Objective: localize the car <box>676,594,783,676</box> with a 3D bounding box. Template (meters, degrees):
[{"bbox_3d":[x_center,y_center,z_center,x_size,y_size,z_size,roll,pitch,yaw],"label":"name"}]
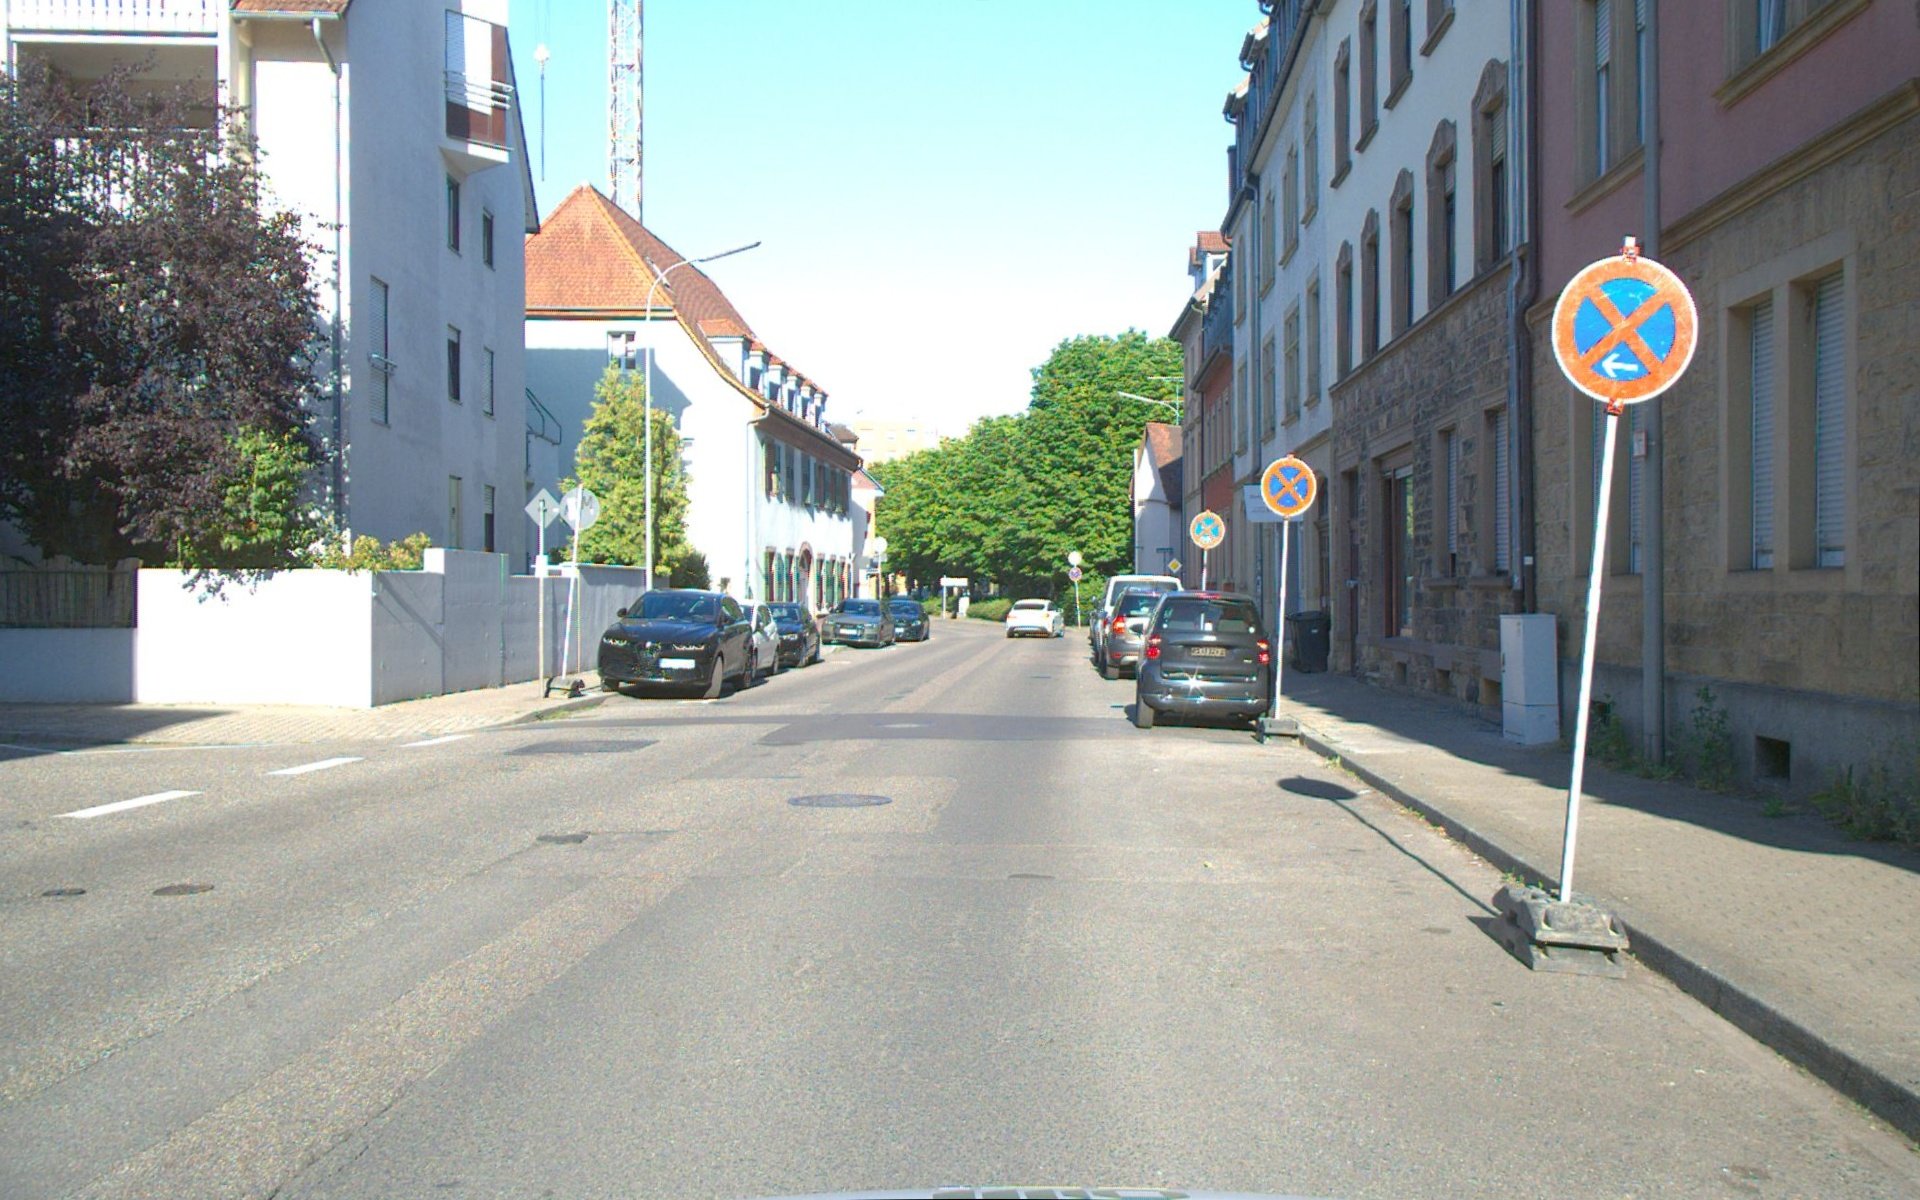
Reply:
[{"bbox_3d":[-4.378,0.636,31.780,1.521,1.483,3.062,-1,0,2],"label":"car"}]

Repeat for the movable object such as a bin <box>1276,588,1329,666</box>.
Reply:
[{"bbox_3d":[6.345,0.497,30.679,0.853,1.402,0.685,-1,0,2],"label":"movable object such as a bin"}]

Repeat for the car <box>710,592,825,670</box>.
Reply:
[{"bbox_3d":[-4.318,0.670,37.685,2.049,1.659,3.823,-1,0,2],"label":"car"}]

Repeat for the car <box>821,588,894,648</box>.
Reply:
[{"bbox_3d":[-3.182,0.520,52.002,1.871,1.790,4.129,-1,0,2],"label":"car"}]

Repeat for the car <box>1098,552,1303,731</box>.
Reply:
[{"bbox_3d":[2.788,0.433,20.046,1.969,1.885,4.001,2,0,2],"label":"car"}]

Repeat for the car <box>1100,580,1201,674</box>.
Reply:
[{"bbox_3d":[3.593,0.468,31.544,1.780,1.659,4.003,-1,0,5],"label":"car"}]

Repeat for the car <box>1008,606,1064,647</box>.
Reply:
[{"bbox_3d":[2.813,0.975,62.177,1.952,1.492,4.000,0,0,1],"label":"car"}]

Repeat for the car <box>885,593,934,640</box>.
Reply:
[{"bbox_3d":[-1.827,0.593,61.029,1.597,1.659,3.175,-1,0,2],"label":"car"}]

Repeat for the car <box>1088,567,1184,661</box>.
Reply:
[{"bbox_3d":[3.805,0.270,36.307,1.803,1.939,4.001,-1,0,2],"label":"car"}]
